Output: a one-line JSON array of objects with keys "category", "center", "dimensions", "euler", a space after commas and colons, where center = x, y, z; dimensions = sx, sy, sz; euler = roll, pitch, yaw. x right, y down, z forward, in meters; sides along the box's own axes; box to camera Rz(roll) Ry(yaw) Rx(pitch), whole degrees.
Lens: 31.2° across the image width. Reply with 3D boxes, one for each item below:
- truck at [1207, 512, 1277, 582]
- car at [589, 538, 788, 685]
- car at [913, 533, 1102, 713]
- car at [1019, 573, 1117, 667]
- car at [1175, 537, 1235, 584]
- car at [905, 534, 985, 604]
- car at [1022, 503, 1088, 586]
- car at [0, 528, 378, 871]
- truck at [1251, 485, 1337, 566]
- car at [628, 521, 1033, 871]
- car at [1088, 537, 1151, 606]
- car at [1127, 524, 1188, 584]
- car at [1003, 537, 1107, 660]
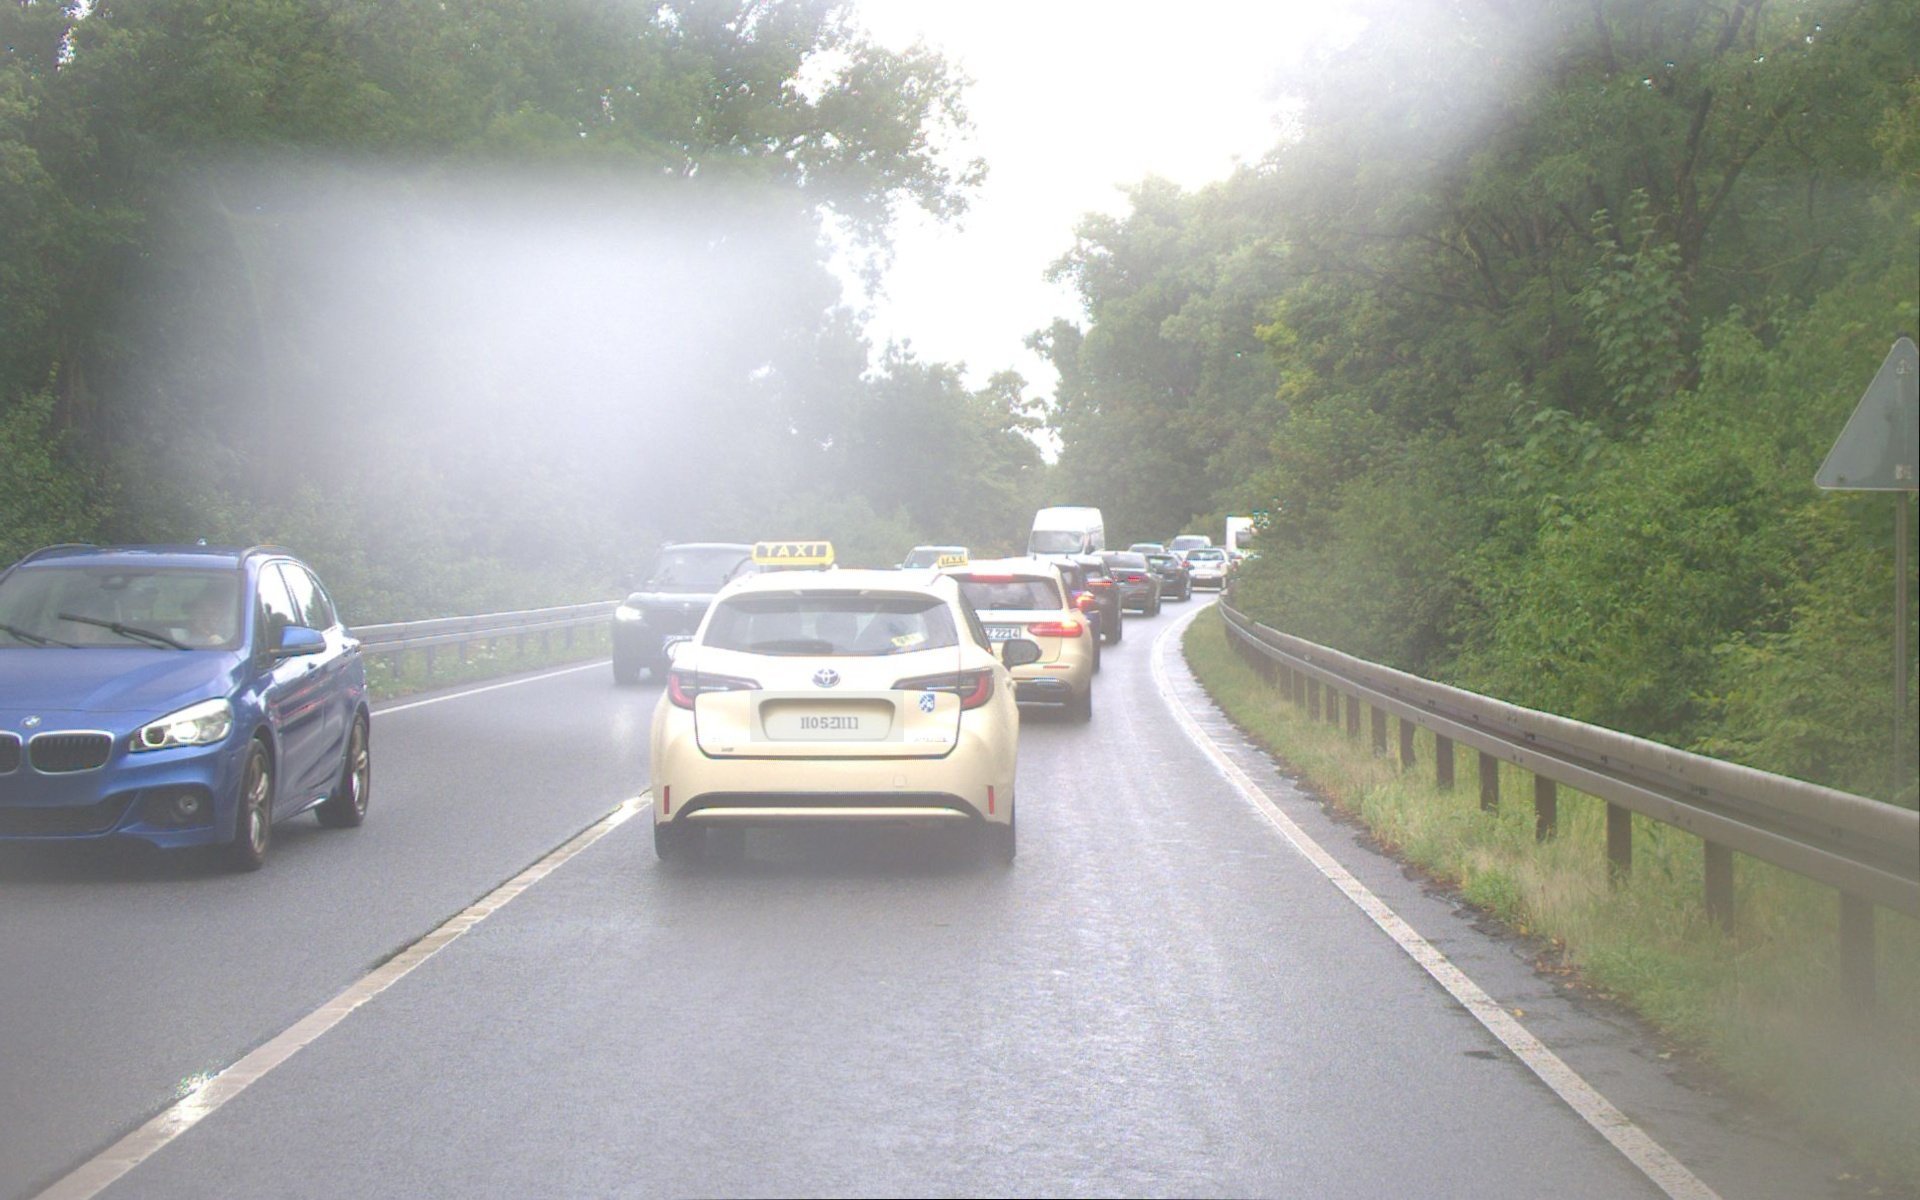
[{"category": "truck", "center": [11.360, -2.084, 138.755], "dimensions": [2.550, 2.704, 7.534], "euler": [1, 0, 3]}, {"category": "car", "center": [-3.202, 0.100, 41.281], "dimensions": [1.847, 1.638, 4.298], "euler": [1, 1, 3]}, {"category": "car", "center": [0.472, 0.197, 32.547], "dimensions": [1.667, 1.575, 3.892], "euler": [1, 0, 1]}, {"category": "car", "center": [1.849, 0.319, 58.671], "dimensions": [1.611, 1.541, 3.814], "euler": [0, 0, 2]}, {"category": "car", "center": [8.319, -1.318, 116.493], "dimensions": [1.770, 1.541, 3.813], "euler": [1, 0, 8]}, {"category": "car", "center": [-0.335, -0.742, 80.187], "dimensions": [1.691, 1.550, 4.442], "euler": [1, 1, 2]}, {"category": "car", "center": [3.177, -1.794, 113.742], "dimensions": [2.048, 2.667, 6.171], "euler": [0, 0, 3]}, {"category": "car", "center": [-4.146, 0.427, 17.238], "dimensions": [1.707, 1.510, 3.912], "euler": [1, 0, 1]}, {"category": "truck", "center": [15.901, -3.521, 163.346], "dimensions": [3.109, 3.668, 6.996], "euler": [1, 0, 13]}, {"category": "car", "center": [-0.578, 0.433, 17.810], "dimensions": [1.834, 1.575, 4.156], "euler": [1, 0, 0]}, {"category": "car", "center": [3.659, -0.639, 78.559], "dimensions": [1.167, 1.541, 2.603], "euler": [1, 0, 8]}, {"category": "car", "center": [5.592, -1.282, 96.997], "dimensions": [1.616, 1.607, 3.621], "euler": [1, 0, 4]}, {"category": "car", "center": [1.249, -0.022, 45.393], "dimensions": [1.300, 1.541, 3.260], "euler": [1, 0, 1]}]
